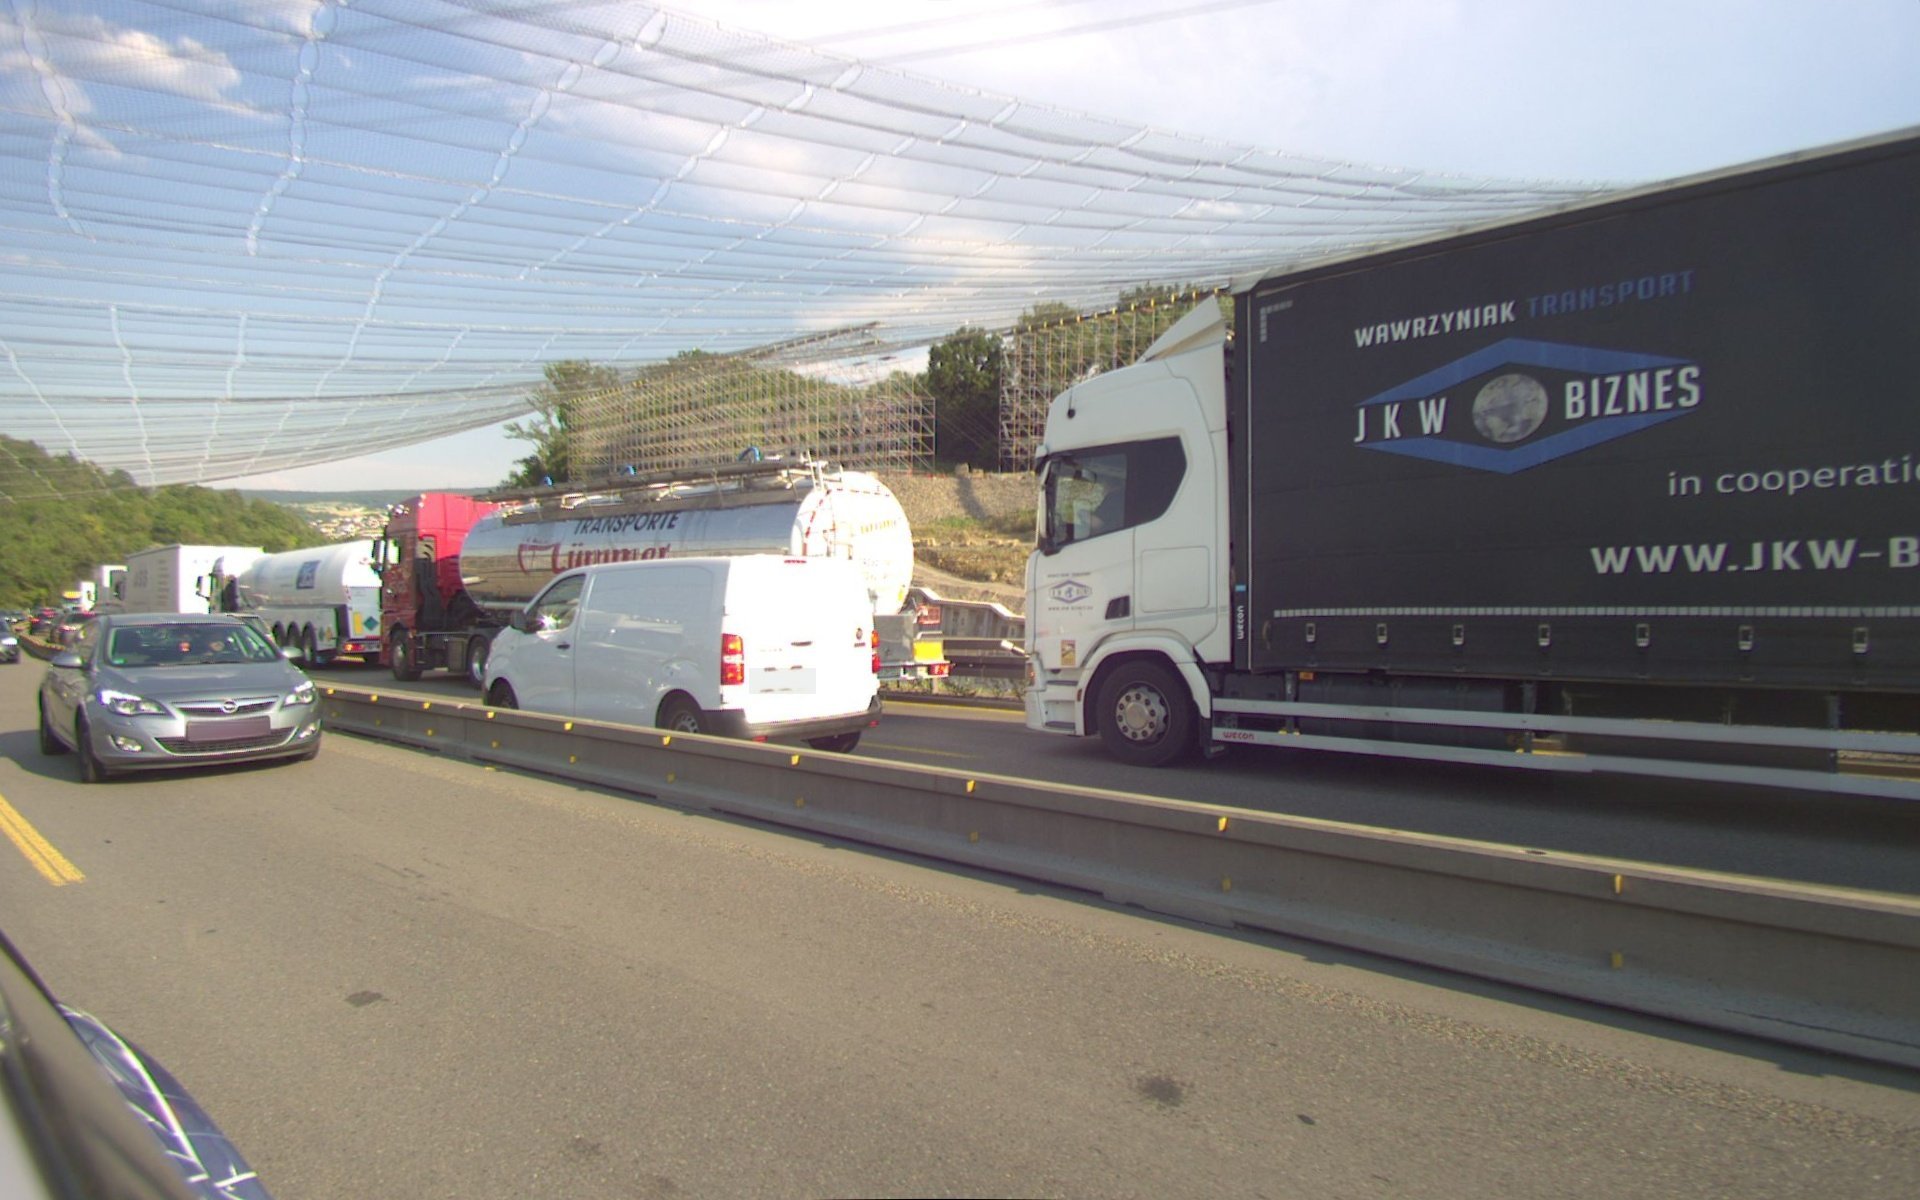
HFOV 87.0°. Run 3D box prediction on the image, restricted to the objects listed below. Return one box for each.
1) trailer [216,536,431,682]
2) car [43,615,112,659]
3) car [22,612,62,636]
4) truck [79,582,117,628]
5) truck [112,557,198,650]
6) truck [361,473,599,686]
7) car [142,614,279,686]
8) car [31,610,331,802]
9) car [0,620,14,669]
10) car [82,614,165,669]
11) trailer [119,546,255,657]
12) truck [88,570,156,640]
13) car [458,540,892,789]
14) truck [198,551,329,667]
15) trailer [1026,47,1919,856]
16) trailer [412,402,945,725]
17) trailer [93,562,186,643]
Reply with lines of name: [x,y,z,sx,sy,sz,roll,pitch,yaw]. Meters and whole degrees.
trailer: [-18.278,0.250,28.497,12.055,3.387,2.281,-1,0,44]
car: [-34.323,1.397,39.342,3.944,1.599,1.731,-1,0,44]
car: [-55.843,1.455,61.538,3.902,1.386,1.589,-1,0,44]
truck: [-85.021,0.467,99.834,2.688,4.259,14.190,0,0,-41]
truck: [-37.488,0.158,47.063,5.619,4.076,2.446,-1,0,44]
truck: [-9.998,-0.346,20.843,5.615,3.813,2.407,-1,0,41]
car: [-17.160,1.064,23.088,4.656,1.437,1.610,-1,0,42]
car: [-7.849,0.846,10.024,4.354,1.484,1.736,-1,0,44]
car: [-29.689,1.323,30.383,3.824,1.394,1.740,-1,0,45]
car: [-25.438,1.217,30.744,3.587,1.540,1.490,-1,0,43]
trailer: [-32.516,0.109,42.214,14.101,3.993,2.401,-1,0,44]
truck: [-50.238,0.283,60.615,2.600,3.939,7.210,0,0,-44]
car: [-3.042,0.514,10.138,4.832,1.940,1.798,-1,0,40]
truck: [-22.479,0.276,32.557,5.618,3.395,2.387,-1,0,44]
trailer: [5.375,-0.798,6.903,10.505,4.361,2.450,-1,0,41]
trailer: [-5.486,-0.393,16.796,12.046,3.819,2.283,-1,0,41]
trailer: [-45.754,0.170,56.199,13.340,4.046,2.639,-1,0,45]
